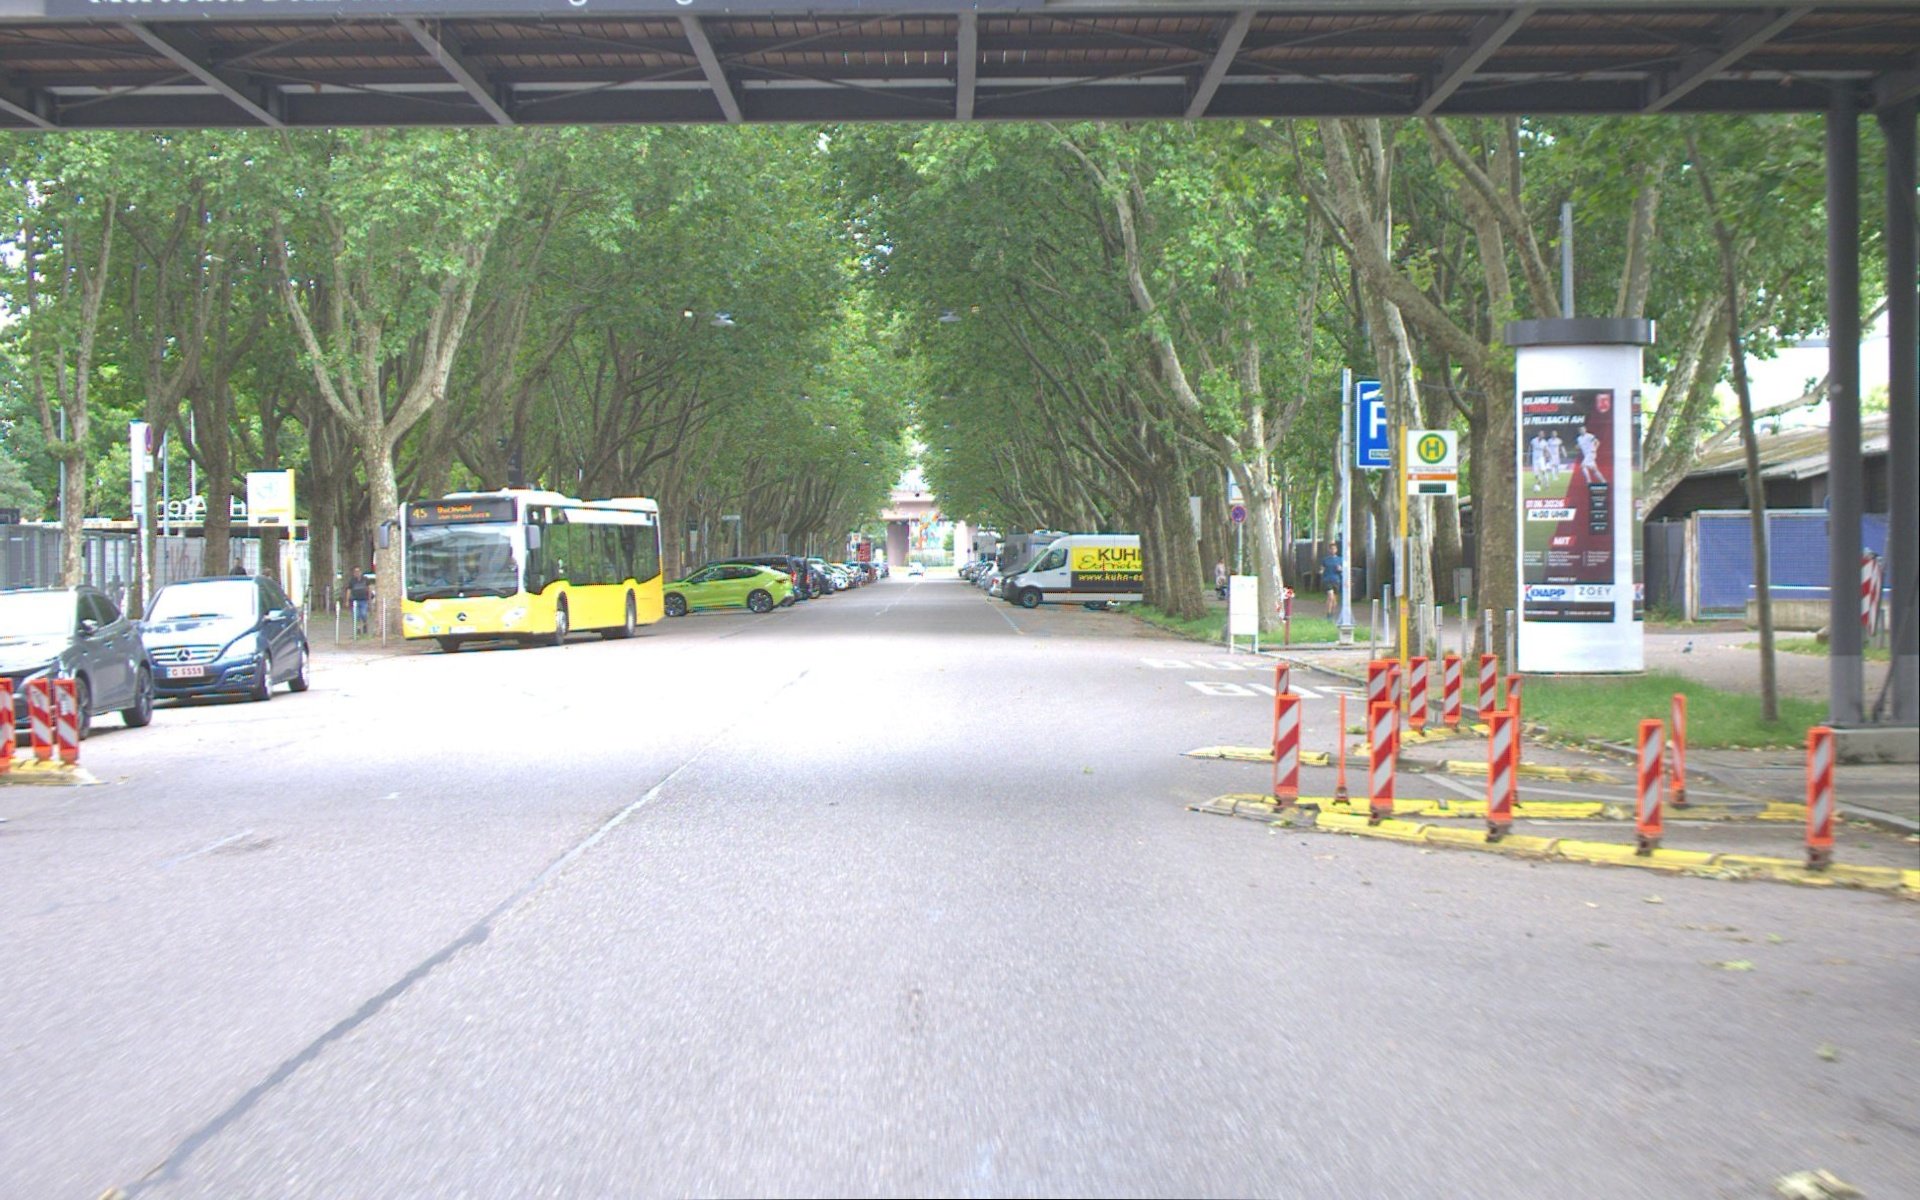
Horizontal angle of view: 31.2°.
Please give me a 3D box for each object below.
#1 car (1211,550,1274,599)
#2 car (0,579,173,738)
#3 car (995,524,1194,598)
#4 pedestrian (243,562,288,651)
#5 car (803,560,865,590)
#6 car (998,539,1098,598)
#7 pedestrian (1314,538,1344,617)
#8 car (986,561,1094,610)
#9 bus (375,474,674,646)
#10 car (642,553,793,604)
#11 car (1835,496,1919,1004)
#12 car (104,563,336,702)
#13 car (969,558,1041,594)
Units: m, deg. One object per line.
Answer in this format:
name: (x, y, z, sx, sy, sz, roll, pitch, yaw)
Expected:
car: (10.345, -0.948, 126.122, 1.993, 1.766, 4.000, 0, 1, 0)
car: (-9.525, 0.585, 35.153, 1.858, 1.448, 4.449, -3, 1, 0)
car: (4.679, -1.382, 120.486, 6.823, 2.505, 2.317, 0, 1, -2)
pedestrian: (-12.546, 0.116, 62.107, 0.667, 1.598, 0.611, 0, 0, -25)
car: (-8.229, -1.624, 224.567, 3.987, 1.963, 2.000, 0, 0, 1)
car: (3.538, -1.269, 138.585, 3.987, 2.331, 1.543, 0, 0, -1)
pedestrian: (8.872, -0.543, 82.618, 0.572, 1.881, 0.617, 0, 0, -9)
car: (2.967, -0.556, 127.952, 3.987, 1.788, 1.543, 0, 0, -1)
bus: (-8.794, -0.840, 71.534, 3.039, 3.149, 12.674, -2, 1, 7)
car: (-7.772, -0.697, 110.622, 4.700, 1.579, 1.864, 0, 0, 1)
car: (4.291, 0.552, 10.552, 1.847, 1.777, 5.211, 1, 1, 0)
car: (-9.417, 0.376, 44.051, 1.993, 1.579, 4.113, -3, 1, 0)
car: (2.271, -1.229, 173.747, 3.621, 1.788, 1.543, 0, 0, -1)
